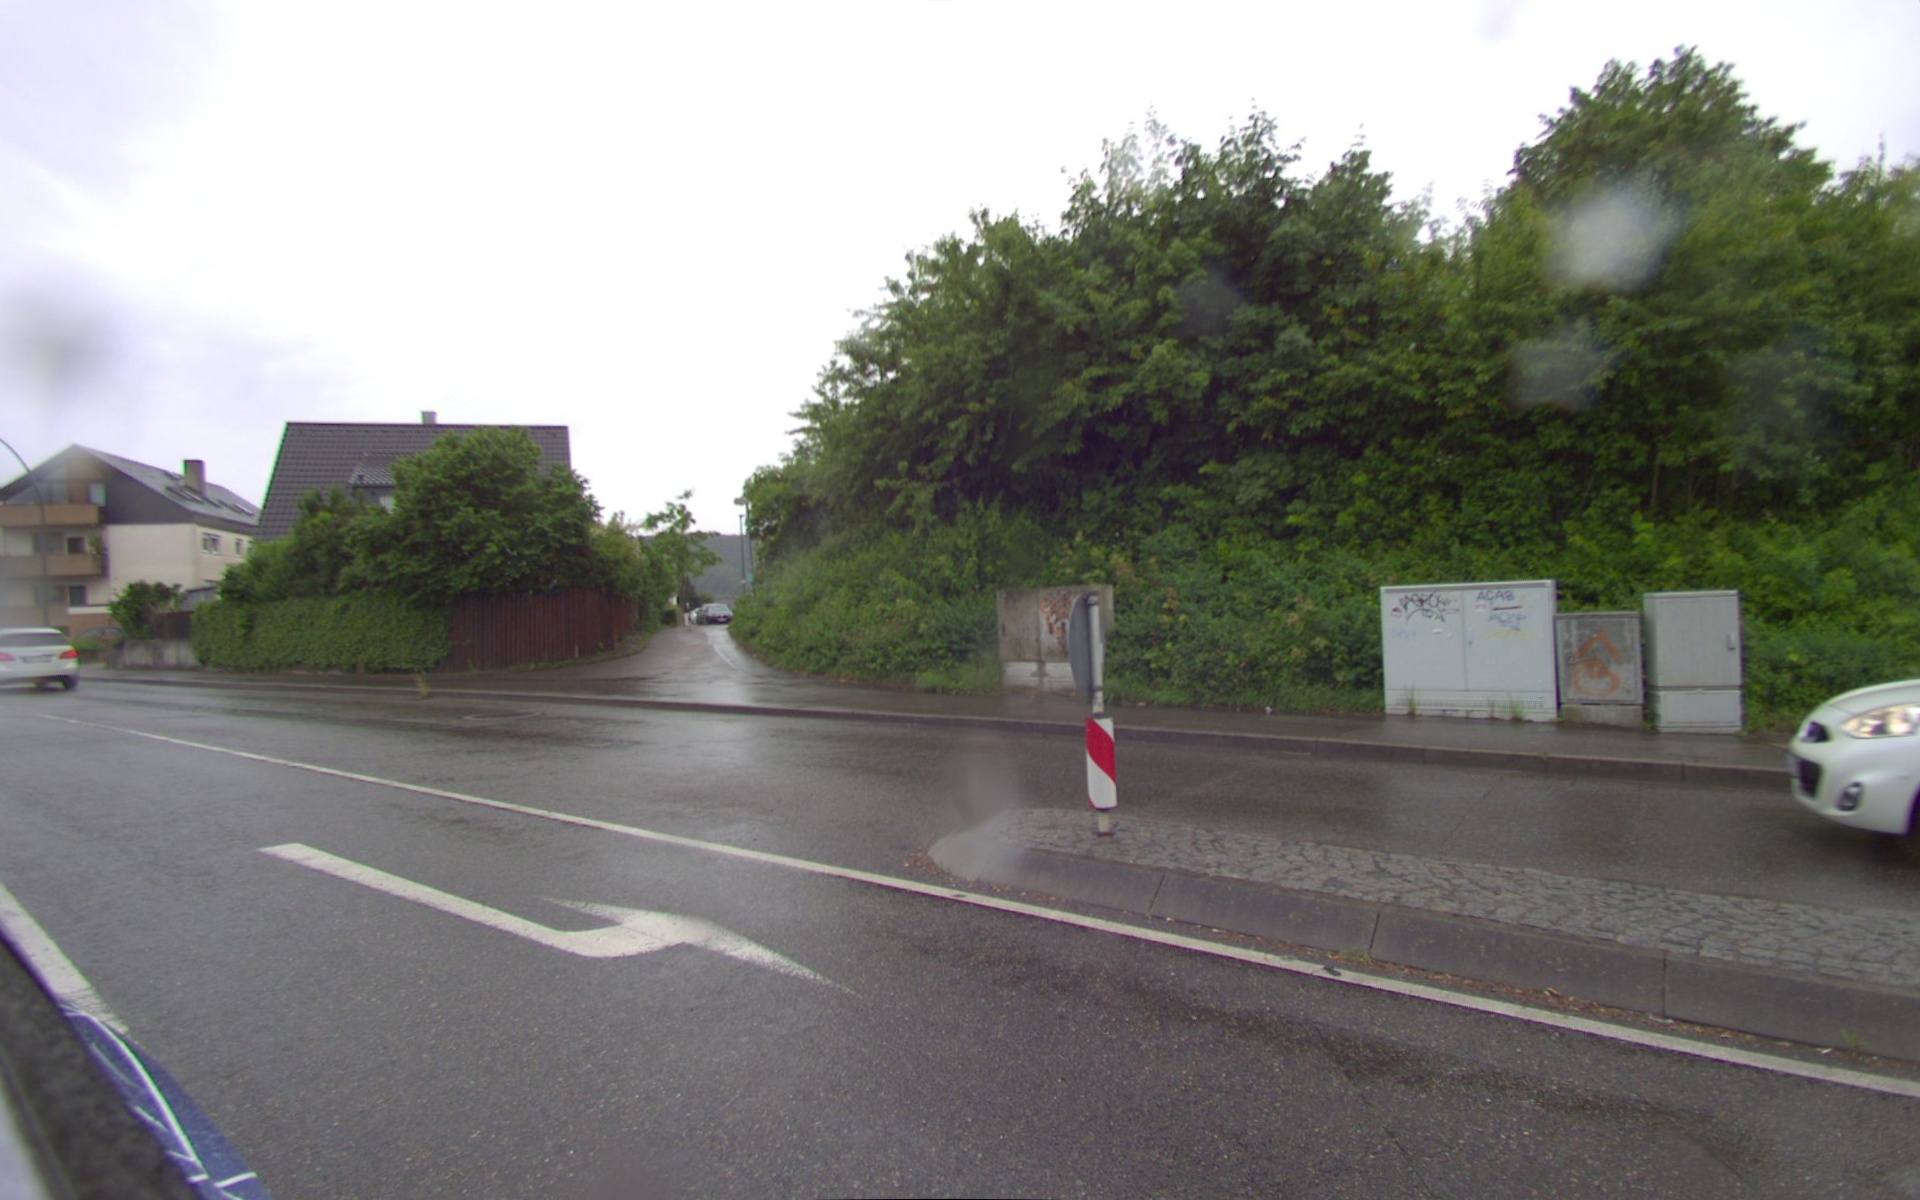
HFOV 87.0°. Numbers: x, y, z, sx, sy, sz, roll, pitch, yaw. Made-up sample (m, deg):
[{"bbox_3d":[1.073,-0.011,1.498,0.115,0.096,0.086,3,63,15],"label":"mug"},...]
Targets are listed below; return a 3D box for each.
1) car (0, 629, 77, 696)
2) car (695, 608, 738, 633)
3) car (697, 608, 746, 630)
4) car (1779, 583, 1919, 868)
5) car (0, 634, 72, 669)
[{"bbox_3d":[-24.194,1.544,25.667,4.310,1.516,1.651,-2,0,34],"label":"car"},{"bbox_3d":[-15.875,1.338,65.949,1.867,1.494,4.013,-1,-1,-26],"label":"car"},{"bbox_3d":[-17.337,1.345,73.451,1.967,1.497,4.009,-1,0,-37],"label":"car"},{"bbox_3d":[6.832,0.650,5.241,3.811,1.516,1.607,-2,-2,33],"label":"car"},{"bbox_3d":[-46.720,2.537,50.781,1.638,1.558,4.011,-1,0,-15],"label":"car"}]
